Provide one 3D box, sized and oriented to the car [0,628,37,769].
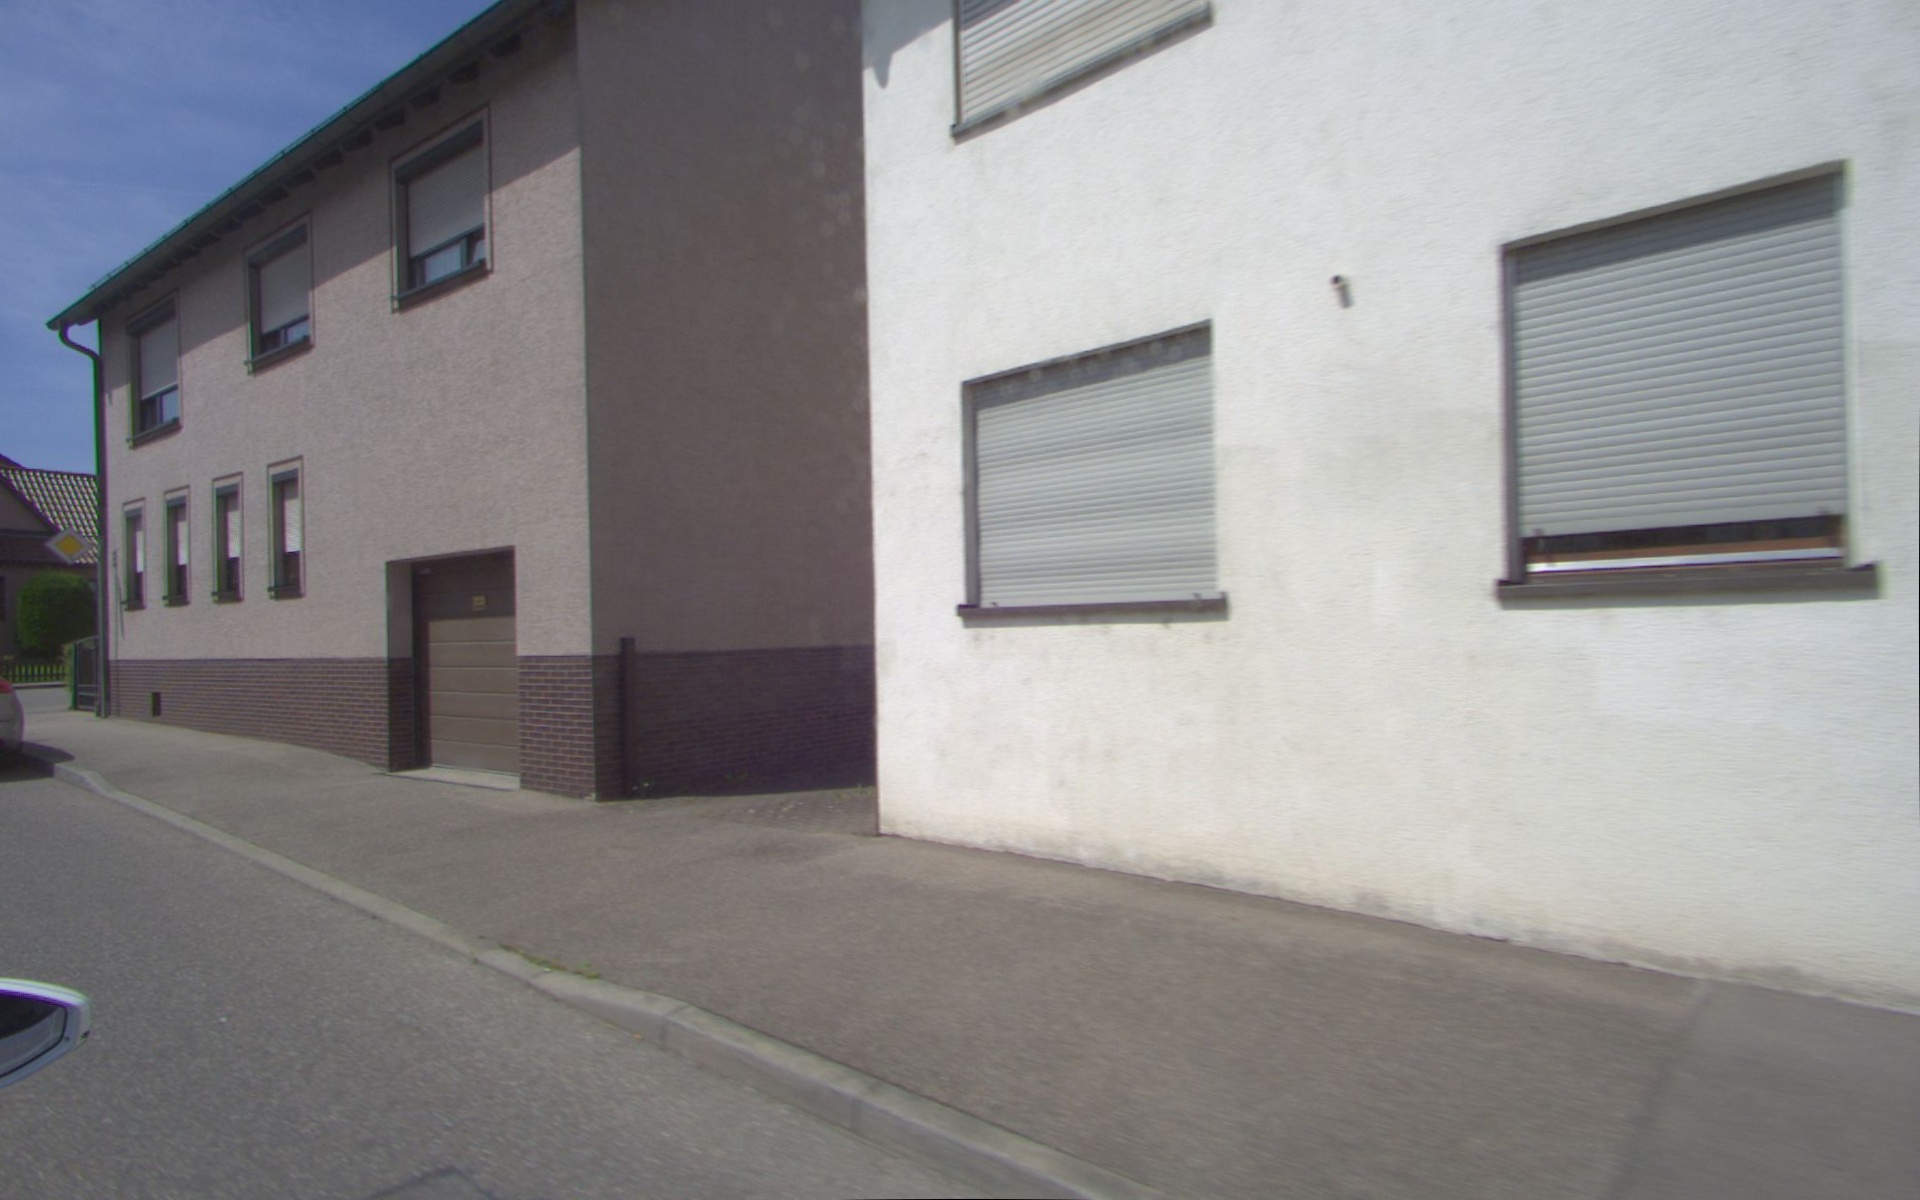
[{"bbox_3d":[-12.024,1.036,11.114,4.280,1.460,1.781,-1,-3,36],"label":"car"}]
